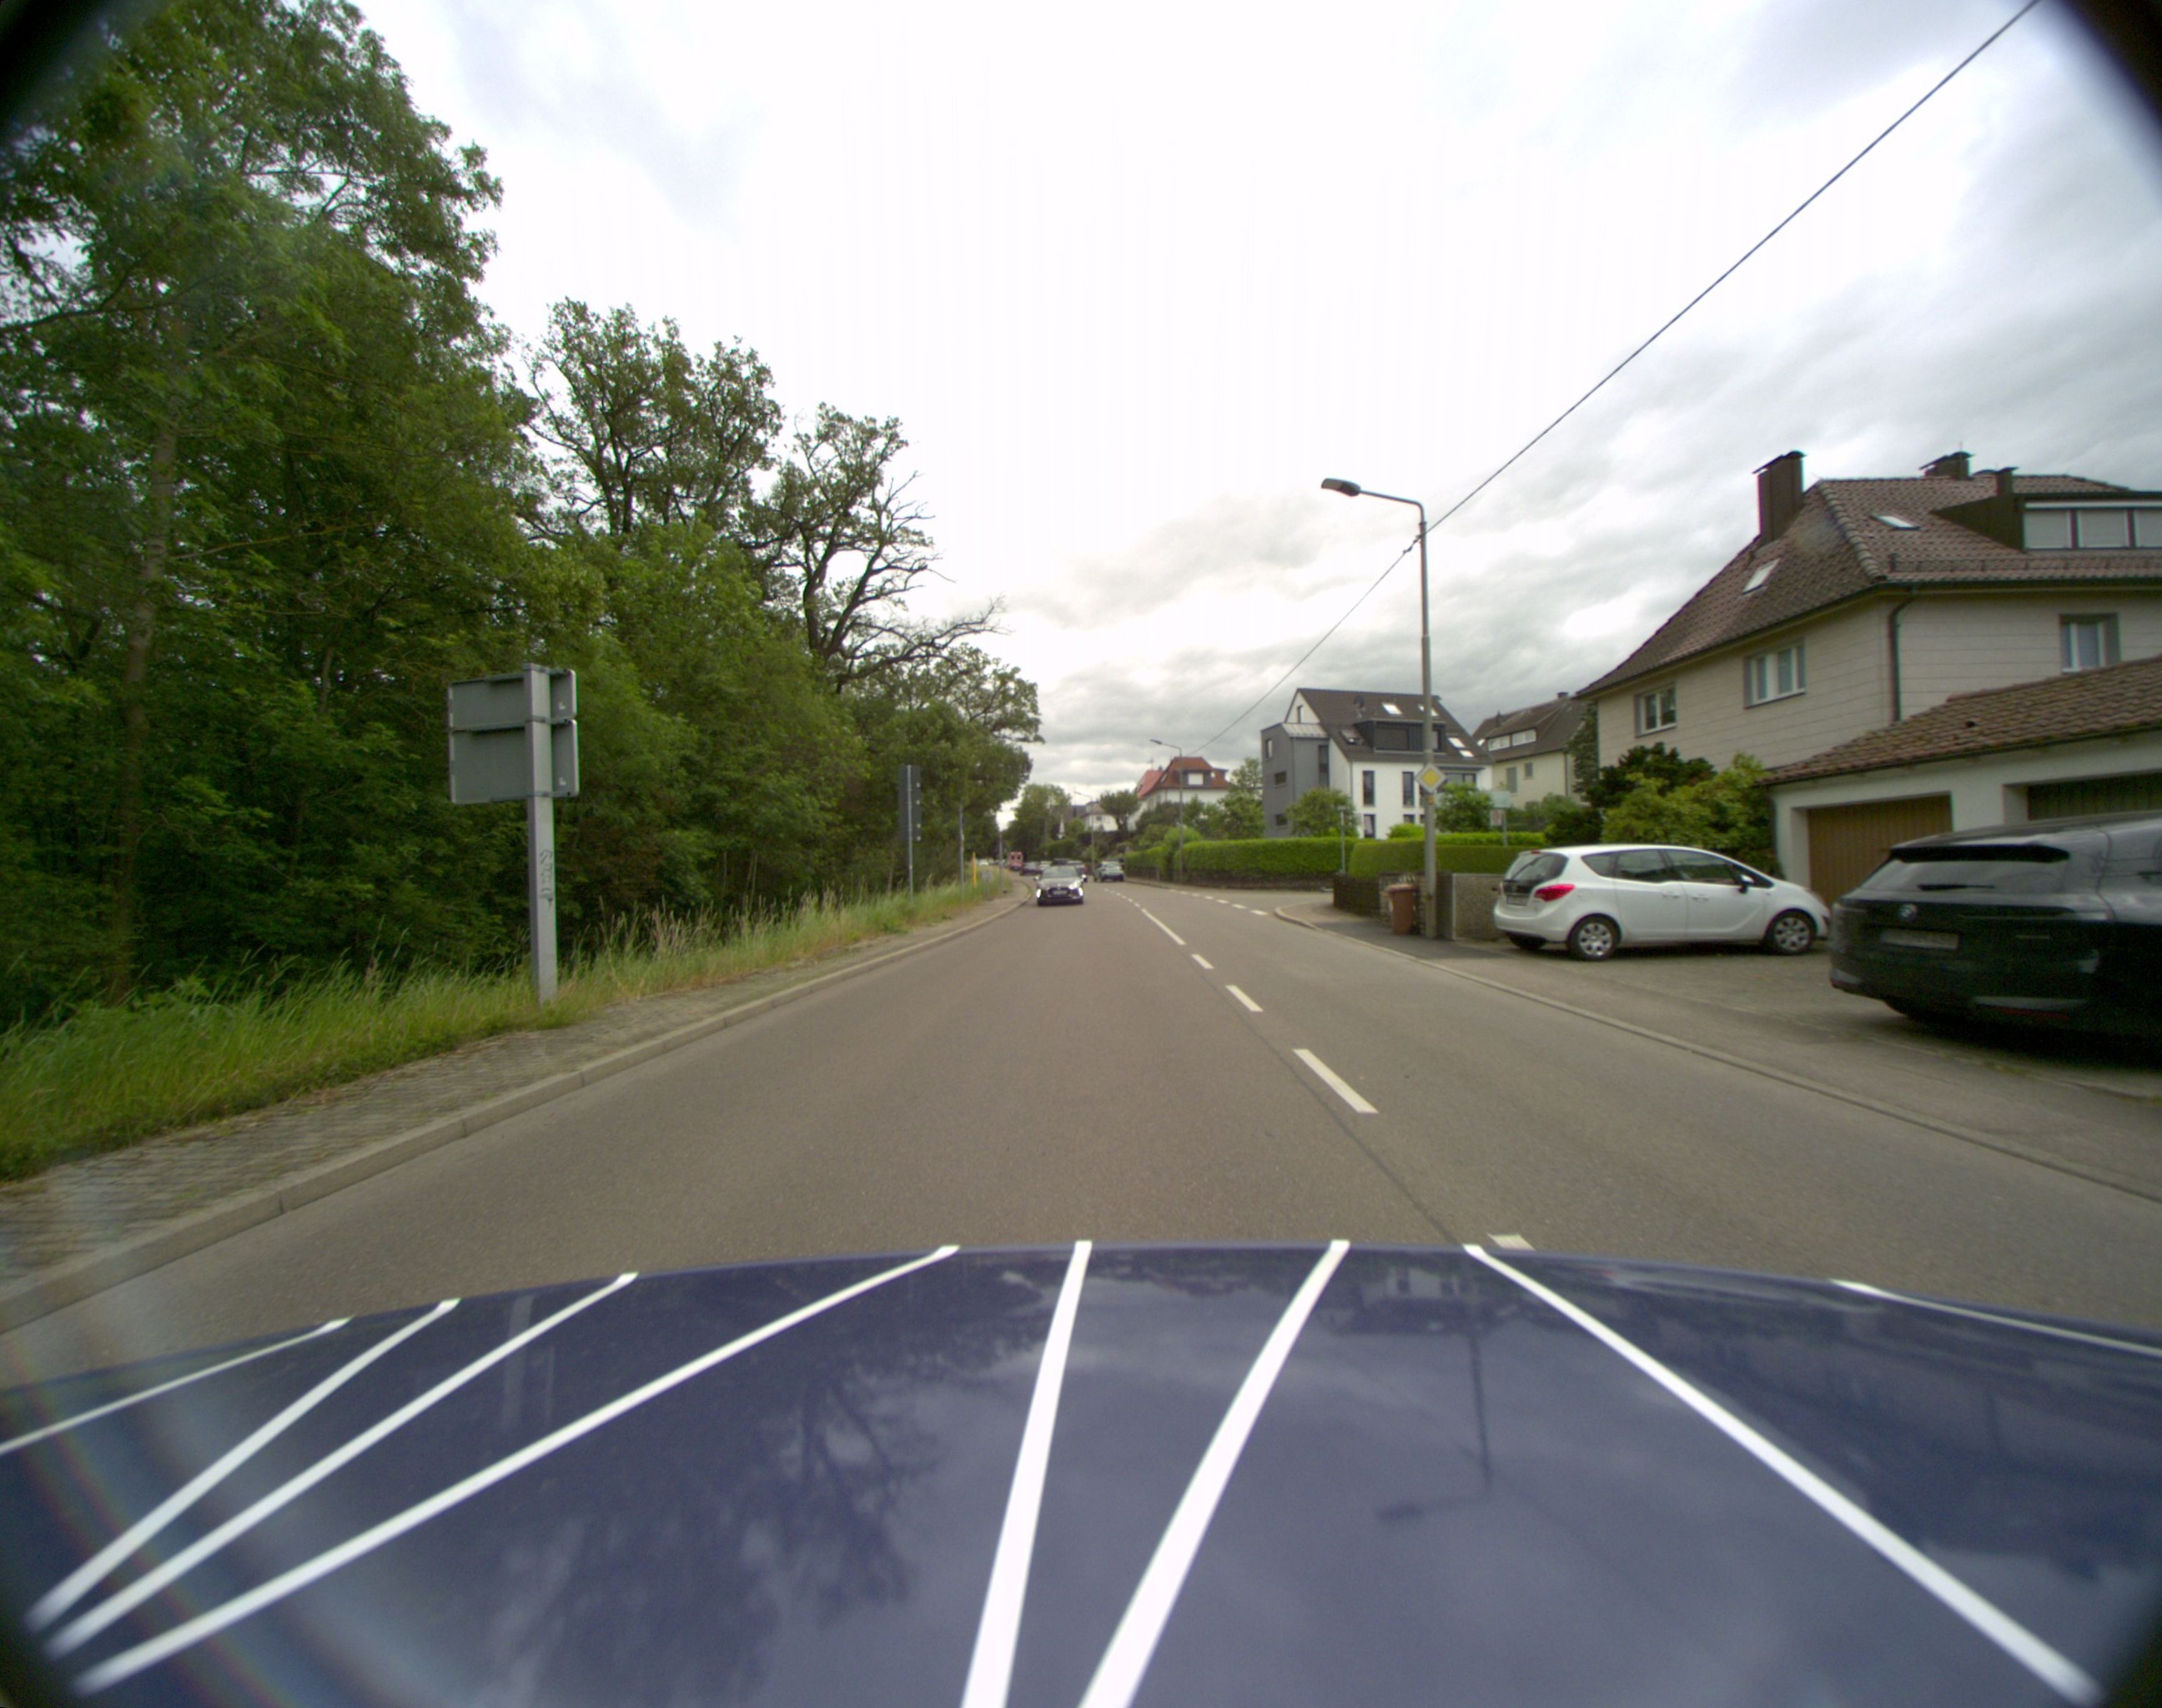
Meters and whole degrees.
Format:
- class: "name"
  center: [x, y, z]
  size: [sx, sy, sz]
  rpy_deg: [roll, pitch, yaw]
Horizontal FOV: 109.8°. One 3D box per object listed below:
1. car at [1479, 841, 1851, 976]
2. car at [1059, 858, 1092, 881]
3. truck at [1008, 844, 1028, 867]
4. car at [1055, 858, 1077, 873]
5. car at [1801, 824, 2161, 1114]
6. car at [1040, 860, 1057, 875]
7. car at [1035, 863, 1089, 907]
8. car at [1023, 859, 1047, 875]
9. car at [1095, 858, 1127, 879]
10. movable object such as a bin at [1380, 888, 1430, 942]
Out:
- class: "car"
  center: [8.260, 0.738, 11.031]
  size: [3.997, 1.584, 1.719]
  rpy_deg: [-3, 0, 1]
- class: "car"
  center: [-0.466, 1.151, 57.141]
  size: [1.819, 1.590, 3.953]
  rpy_deg: [-2, 0, -10]
- class: "truck"
  center: [-10.654, 0.293, 127.959]
  size: [3.008, 3.618, 7.083]
  rpy_deg: [-1, 0, -8]
- class: "car"
  center: [-1.570, 1.186, 80.556]
  size: [1.876, 1.569, 3.997]
  rpy_deg: [-1, 0, -7]
- class: "car"
  center: [8.515, 0.614, 5.552]
  size: [4.682, 1.659, 1.882]
  rpy_deg: [-3, 0, 0]
- class: "car"
  center: [-4.051, 1.644, 94.045]
  size: [1.833, 1.665, 3.997]
  rpy_deg: [-1, 1, -7]
- class: "car"
  center: [-0.679, 1.135, 29.163]
  size: [1.730, 1.449, 3.856]
  rpy_deg: [-2, 0, 3]
- class: "car"
  center: [-5.188, 1.439, 85.186]
  size: [2.001, 1.749, 3.996]
  rpy_deg: [-1, 0, -13]
- class: "car"
  center: [2.206, 1.064, 56.560]
  size: [1.840, 1.514, 3.998]
  rpy_deg: [-1, 0, -5]
- class: "movable object such as a bin"
  center: [6.041, 1.133, 14.195]
  size: [0.689, 0.948, 0.572]
  rpy_deg: [-1, 0, 2]
